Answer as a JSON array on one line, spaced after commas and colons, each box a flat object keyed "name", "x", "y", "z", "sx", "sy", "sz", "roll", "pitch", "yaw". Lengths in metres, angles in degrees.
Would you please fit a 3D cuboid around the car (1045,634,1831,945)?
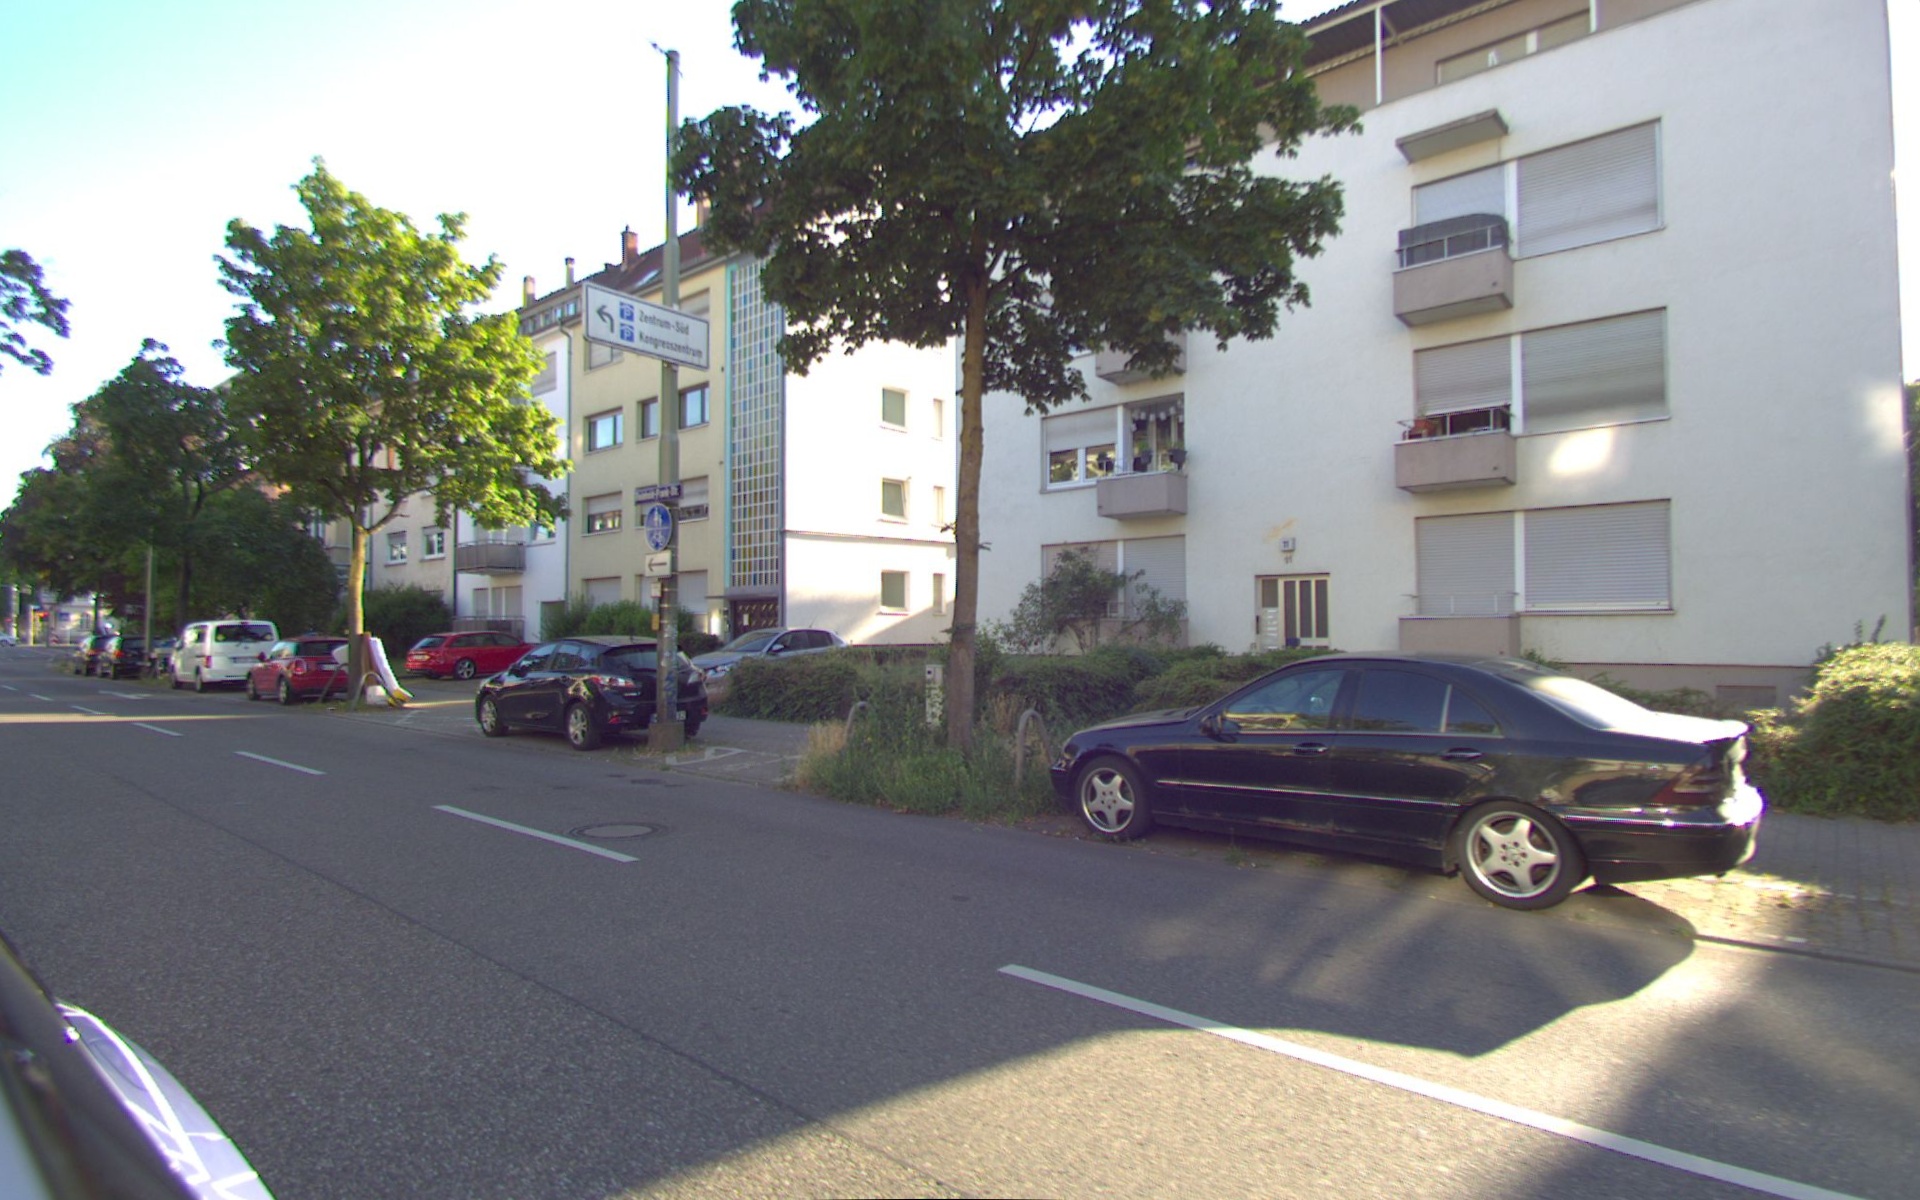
[{"name": "car", "x": 2.839, "y": 0.943, "z": 6.745, "sx": 4.441, "sy": 1.418, "sz": 1.620, "roll": -2, "pitch": -2, "yaw": 41}]

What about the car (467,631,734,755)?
[{"name": "car", "x": -5.163, "y": 1.199, "z": 14.311, "sx": 3.998, "sy": 1.497, "sz": 1.838, "roll": -2, "pitch": -3, "yaw": 41}]

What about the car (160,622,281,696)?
[{"name": "car", "x": -19.838, "y": 1.526, "z": 27.109, "sx": 4.189, "sy": 1.823, "sz": 1.717, "roll": -2, "pitch": -2, "yaw": 41}]

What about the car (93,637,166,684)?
[{"name": "car", "x": -28.162, "y": 2.006, "z": 34.275, "sx": 3.682, "sy": 1.416, "sz": 1.388, "roll": -1, "pitch": 0, "yaw": 42}]

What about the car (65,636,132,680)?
[{"name": "car", "x": -31.501, "y": 2.080, "z": 36.970, "sx": 3.682, "sy": 1.475, "sz": 1.388, "roll": -1, "pitch": 0, "yaw": 42}]

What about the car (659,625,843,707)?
[{"name": "car", "x": -4.261, "y": 1.302, "z": 20.940, "sx": 1.686, "sy": 1.535, "sz": 3.422, "roll": -2, "pitch": -3, "yaw": 42}]

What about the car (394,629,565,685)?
[{"name": "car", "x": -14.500, "y": 1.674, "z": 30.785, "sx": 1.734, "sy": 1.416, "sz": 4.516, "roll": -1, "pitch": 0, "yaw": 30}]

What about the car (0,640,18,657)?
[{"name": "car", "x": -92.459, "y": 4.644, "z": 96.085, "sx": 3.934, "sy": 1.597, "sz": 2.005, "roll": 0, "pitch": -2, "yaw": -12}]

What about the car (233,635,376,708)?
[{"name": "car", "x": -14.626, "y": 1.531, "z": 22.522, "sx": 3.634, "sy": 1.475, "sz": 1.717, "roll": -2, "pitch": -2, "yaw": 41}]
